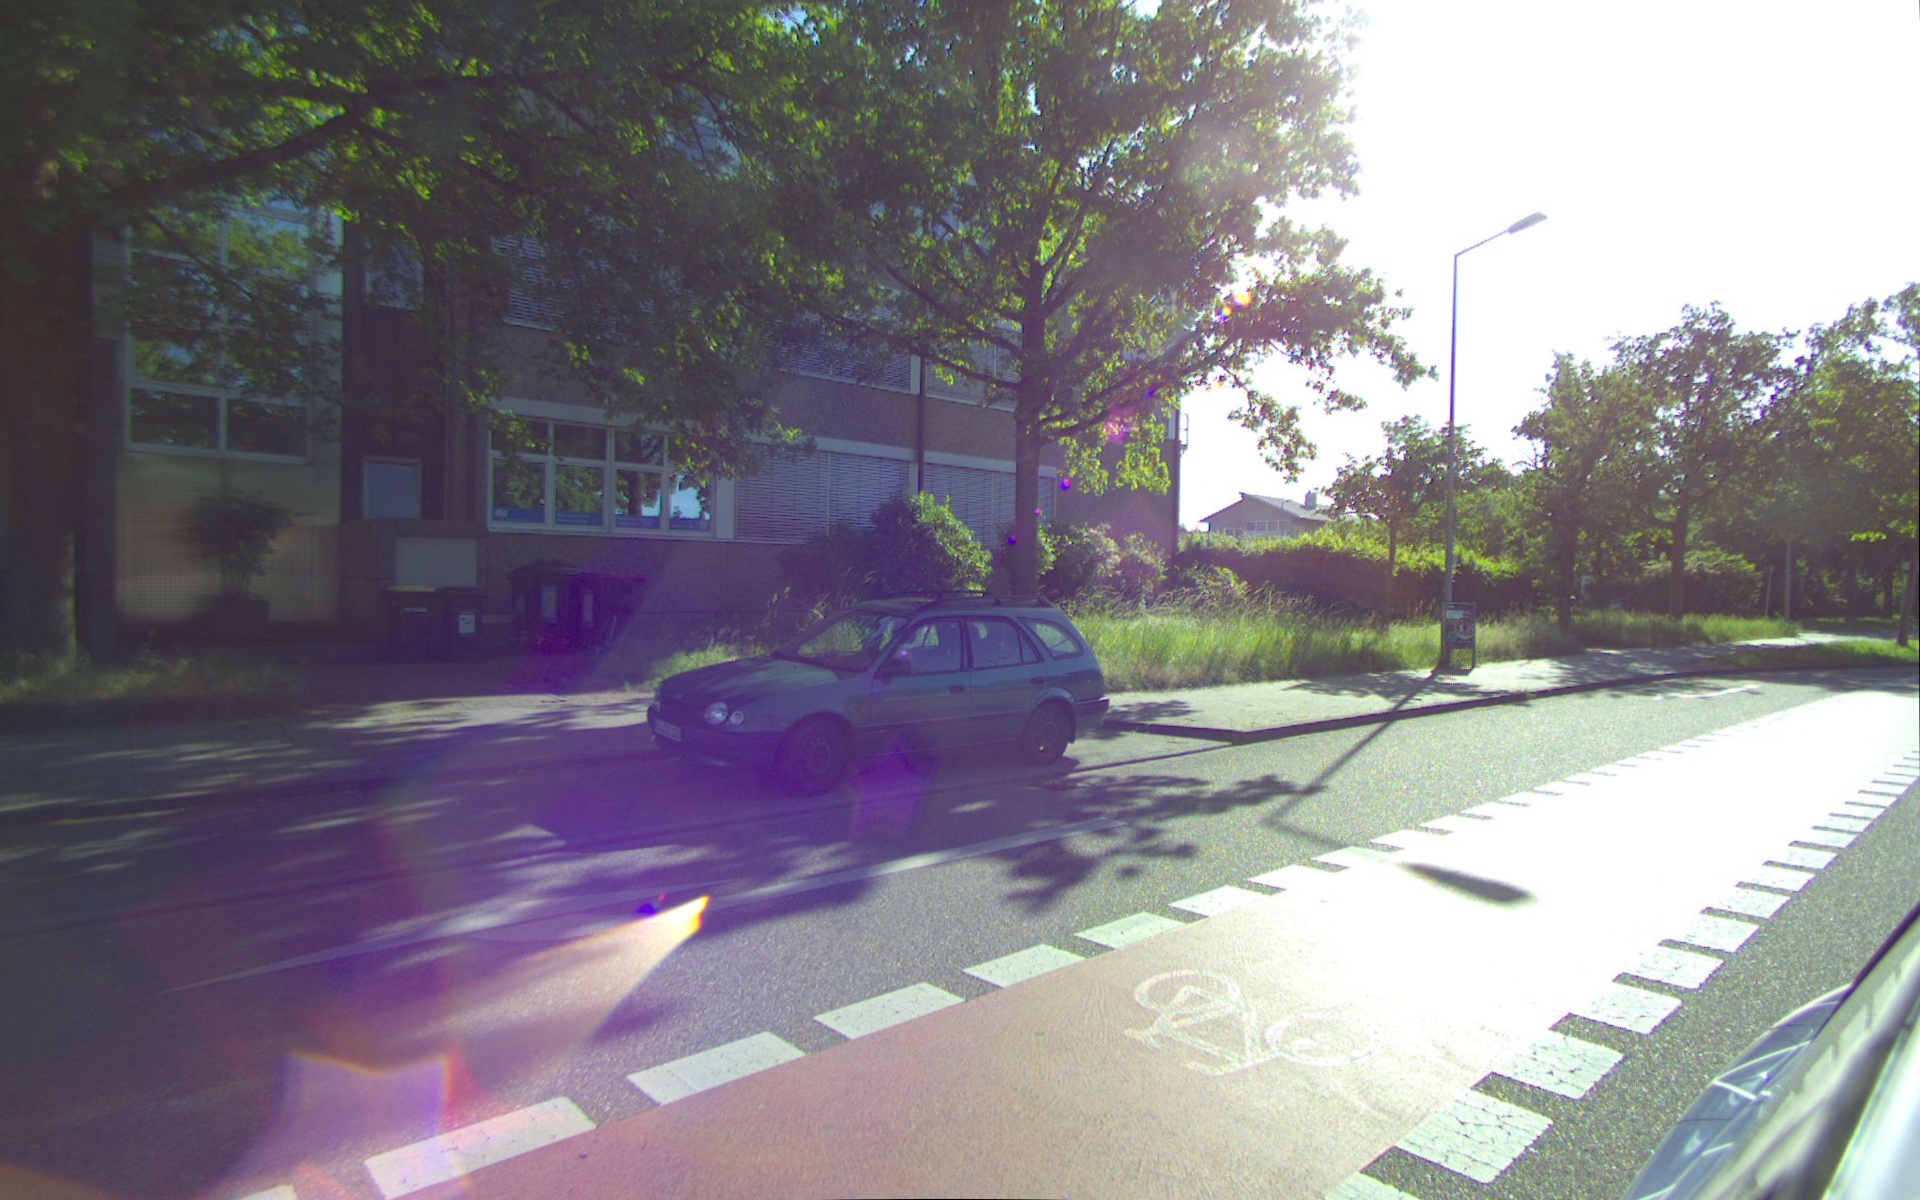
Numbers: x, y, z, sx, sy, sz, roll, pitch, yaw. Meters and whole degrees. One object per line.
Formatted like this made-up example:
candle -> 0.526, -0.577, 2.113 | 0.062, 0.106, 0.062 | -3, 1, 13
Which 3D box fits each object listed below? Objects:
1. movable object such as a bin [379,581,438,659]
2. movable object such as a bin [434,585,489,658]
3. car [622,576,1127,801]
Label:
movable object such as a bin -> -7.692, 0.265, 14.111 | 0.571, 1.045, 0.713 | 0, 1, -41
movable object such as a bin -> -7.205, 0.290, 14.623 | 0.566, 1.020, 0.629 | -1, 1, -41
car -> -0.560, 0.560, 8.664 | 4.129, 1.446, 1.596 | 0, 3, -40
